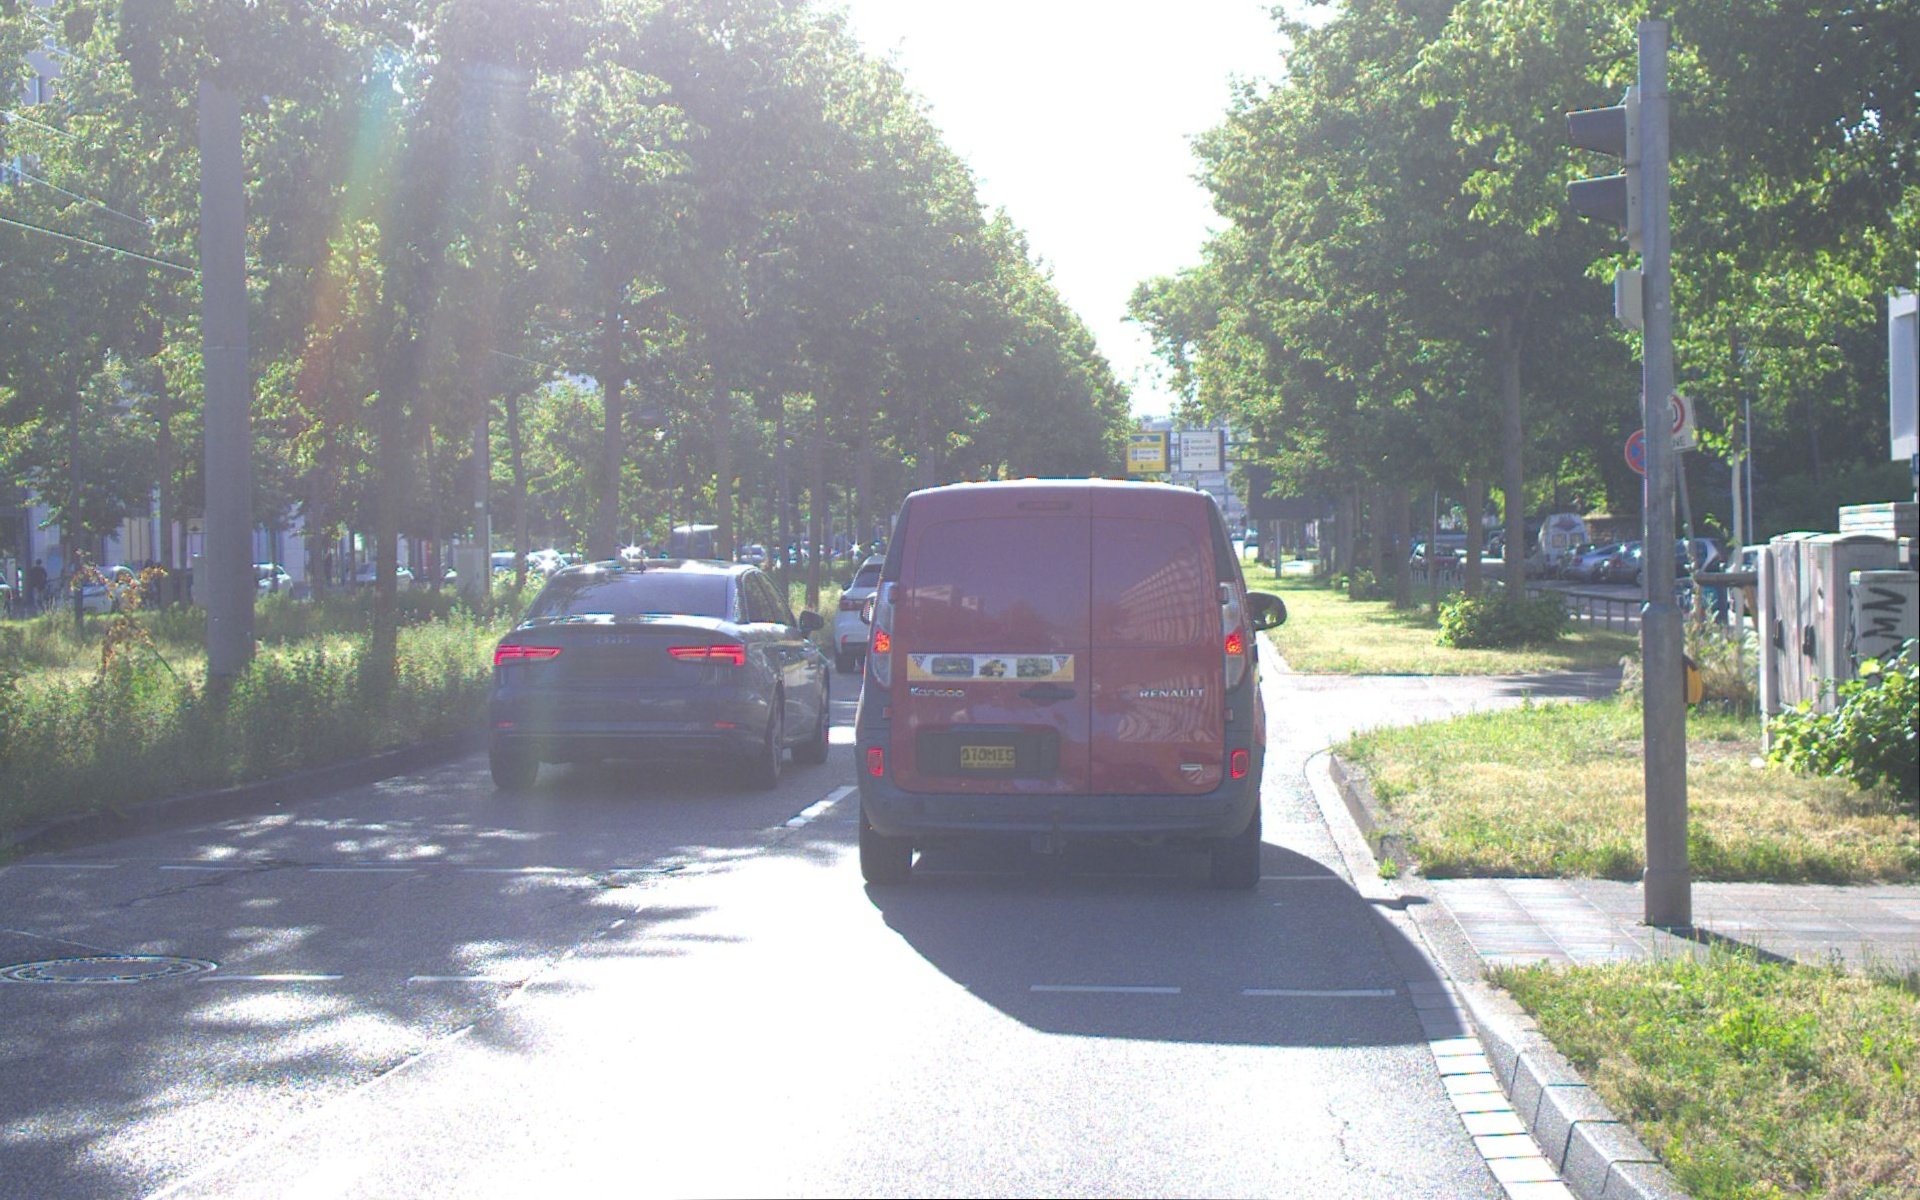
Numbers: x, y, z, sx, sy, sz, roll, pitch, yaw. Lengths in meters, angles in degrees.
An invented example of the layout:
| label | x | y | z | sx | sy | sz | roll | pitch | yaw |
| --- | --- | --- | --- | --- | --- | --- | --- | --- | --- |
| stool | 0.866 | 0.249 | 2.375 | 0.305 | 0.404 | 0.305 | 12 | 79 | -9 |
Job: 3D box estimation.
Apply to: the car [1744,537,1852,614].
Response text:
| label | x | y | z | sx | sy | sz | roll | pitch | yaw |
| --- | --- | --- | --- | --- | --- | --- | --- | --- | --- |
| car | 18.182 | -0.554 | 74.733 | 1.758 | 1.606 | 3.902 | 0 | 1 | 6 |

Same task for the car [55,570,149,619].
| label | x | y | z | sx | sy | sz | roll | pitch | yaw |
| --- | --- | --- | --- | --- | --- | --- | --- | --- | --- |
| car | -24.981 | -0.179 | 100.223 | 1.580 | 1.337 | 3.712 | -1 | 1 | 4 |

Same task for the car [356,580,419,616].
| label | x | y | z | sx | sy | sz | roll | pitch | yaw |
| --- | --- | --- | --- | --- | --- | --- | --- | --- | --- |
| car | -22.184 | -0.094 | 133.393 | 1.580 | 1.337 | 3.712 | -1 | 1 | 4 |

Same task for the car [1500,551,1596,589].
| label | x | y | z | sx | sy | sz | roll | pitch | yaw |
| --- | --- | --- | --- | --- | --- | --- | --- | --- | --- |
| car | 21.488 | -1.093 | 125.508 | 3.400 | 1.354 | 1.470 | -1 | 1 | 11 |

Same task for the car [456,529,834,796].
| label | x | y | z | sx | sy | sz | roll | pitch | yaw |
| --- | --- | --- | --- | --- | --- | --- | --- | --- | --- |
| car | -1.909 | 0.323 | 22.031 | 1.808 | 1.522 | 4.113 | -1 | 1 | 3 |

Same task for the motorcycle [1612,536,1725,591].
| label | x | y | z | sx | sy | sz | roll | pitch | yaw |
| --- | --- | --- | --- | --- | --- | --- | --- | --- | --- |
| motorcycle | 21.846 | -1.135 | 106.053 | 3.400 | 1.657 | 1.470 | -1 | 1 | 11 |

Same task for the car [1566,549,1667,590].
| label | x | y | z | sx | sy | sz | roll | pitch | yaw |
| --- | --- | --- | --- | --- | --- | --- | --- | --- | --- |
| car | 22.626 | -1.044 | 118.474 | 3.400 | 1.354 | 1.470 | -1 | 1 | 11 |

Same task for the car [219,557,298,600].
| label | x | y | z | sx | sy | sz | roll | pitch | yaw |
| --- | --- | --- | --- | --- | --- | --- | --- | --- | --- |
| car | -22.953 | -0.708 | 112.640 | 1.580 | 1.337 | 3.712 | -1 | 1 | 4 |

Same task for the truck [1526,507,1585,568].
| label | x | y | z | sx | sy | sz | roll | pitch | yaw |
| --- | --- | --- | --- | --- | --- | --- | --- | --- | --- |
| truck | 25.113 | -2.631 | 145.188 | 1.832 | 2.492 | 5.932 | 0 | 1 | 4 |

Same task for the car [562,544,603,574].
| label | x | y | z | sx | sy | sz | roll | pitch | yaw |
| --- | --- | --- | --- | --- | --- | --- | --- | --- | --- |
| car | -22.997 | -2.525 | 209.581 | 1.732 | 1.766 | 4.000 | -1 | 1 | 4 |

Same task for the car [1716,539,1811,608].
| label | x | y | z | sx | sy | sz | roll | pitch | yaw |
| --- | --- | --- | --- | --- | --- | --- | --- | --- | --- |
| car | 18.564 | -0.635 | 79.547 | 1.820 | 1.527 | 3.436 | -1 | 1 | 8 |

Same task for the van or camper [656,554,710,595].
| label | x | y | z | sx | sy | sz | roll | pitch | yaw |
| --- | --- | --- | --- | --- | --- | --- | --- | --- | --- |
| van or camper | -12.204 | -1.134 | 151.713 | 1.821 | 1.732 | 3.712 | -1 | 1 | 4 |

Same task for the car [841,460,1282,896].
| label | x | y | z | sx | sy | sz | roll | pitch | yaw |
| --- | --- | --- | --- | --- | --- | --- | --- | --- | --- |
| car | 0.451 | 0.305 | 16.334 | 1.808 | 1.788 | 4.113 | -1 | 0 | 1 |

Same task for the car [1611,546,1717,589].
| label | x | y | z | sx | sy | sz | roll | pitch | yaw |
| --- | --- | --- | --- | --- | --- | --- | --- | --- | --- |
| car | 23.257 | -1.076 | 113.580 | 3.400 | 1.354 | 1.470 | -1 | 1 | 11 |

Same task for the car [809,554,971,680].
| label | x | y | z | sx | sy | sz | roll | pitch | yaw |
| --- | --- | --- | --- | --- | --- | --- | --- | --- | --- |
| car | -0.810 | 0.172 | 42.408 | 1.808 | 1.430 | 4.113 | -1 | 1 | 1 |
